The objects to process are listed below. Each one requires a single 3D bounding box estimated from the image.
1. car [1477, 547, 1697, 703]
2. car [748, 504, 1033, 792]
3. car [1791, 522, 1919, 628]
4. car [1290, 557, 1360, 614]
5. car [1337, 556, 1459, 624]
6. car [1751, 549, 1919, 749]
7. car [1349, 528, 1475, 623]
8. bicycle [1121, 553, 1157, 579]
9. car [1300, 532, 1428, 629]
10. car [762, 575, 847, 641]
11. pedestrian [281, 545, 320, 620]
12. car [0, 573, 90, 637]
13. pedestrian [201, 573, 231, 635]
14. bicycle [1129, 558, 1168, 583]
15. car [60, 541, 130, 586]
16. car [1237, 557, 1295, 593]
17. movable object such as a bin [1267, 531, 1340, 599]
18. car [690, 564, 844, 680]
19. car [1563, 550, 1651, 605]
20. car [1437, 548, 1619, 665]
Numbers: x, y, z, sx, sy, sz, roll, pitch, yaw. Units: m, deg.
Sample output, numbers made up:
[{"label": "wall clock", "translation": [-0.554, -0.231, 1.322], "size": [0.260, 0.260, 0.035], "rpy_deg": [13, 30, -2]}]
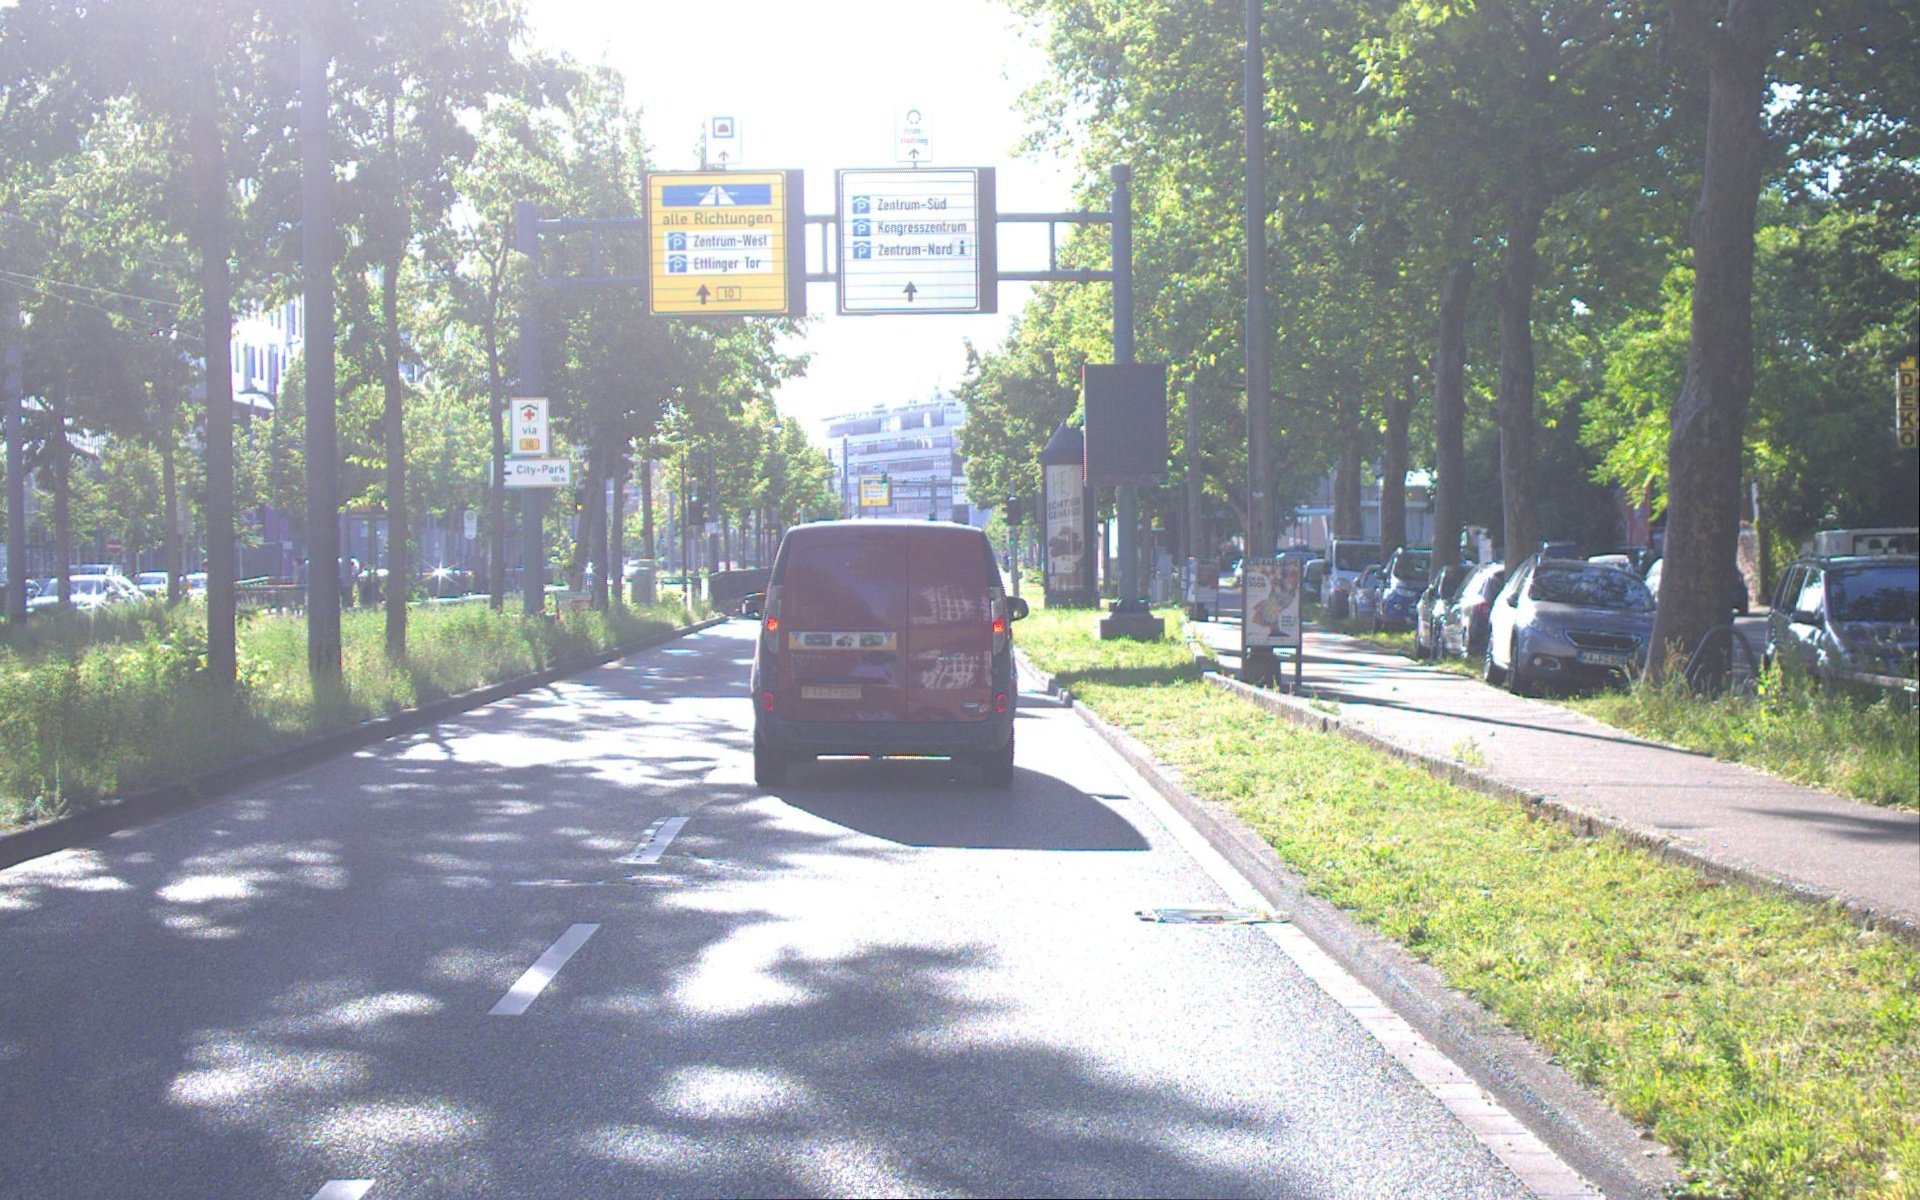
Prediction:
[{"label": "car", "translation": [6.887, 0.258, 38.101], "size": [1.793, 1.555, 4.020], "rpy_deg": [3, 0, 2]}, {"label": "car", "translation": [-0.567, 0.306, 24.229], "size": [1.808, 1.831, 4.000], "rpy_deg": [1, 0, -3]}, {"label": "car", "translation": [17.802, -0.498, 67.521], "size": [2.087, 2.007, 4.942], "rpy_deg": [0, 0, 4]}, {"label": "car", "translation": [9.925, -0.382, 93.714], "size": [1.662, 1.495, 2.989], "rpy_deg": [1, 0, 2]}, {"label": "car", "translation": [8.844, -0.201, 69.673], "size": [1.993, 1.285, 4.053], "rpy_deg": [1, 0, 1]}, {"label": "car", "translation": [8.288, 0.409, 30.428], "size": [1.793, 1.629, 4.626], "rpy_deg": [1, 0, 4]}, {"label": "car", "translation": [8.196, -0.444, 62.621], "size": [1.736, 1.636, 4.352], "rpy_deg": [1, 0, 1]}, {"label": "bicycle", "translation": [9.024, -1.722, 173.392], "size": [1.778, 1.264, 0.479], "rpy_deg": [1, 0, 1]}, {"label": "car", "translation": [8.869, -0.428, 75.926], "size": [2.190, 2.007, 5.820], "rpy_deg": [1, 0, 1]}, {"label": "car", "translation": [-3.967, 0.202, 88.329], "size": [1.993, 1.612, 4.000], "rpy_deg": [1, 0, 0]}, {"label": "pedestrian", "translation": [-16.394, -0.430, 85.466], "size": [0.820, 1.829, 0.726], "rpy_deg": [1, 0, -3]}, {"label": "car", "translation": [-21.876, 0.104, 79.991], "size": [1.993, 1.436, 4.456], "rpy_deg": [1, 0, 2]}, {"label": "pedestrian", "translation": [-18.090, 0.097, 83.567], "size": [0.550, 1.513, 0.588], "rpy_deg": [1, 0, 5]}, {"label": "bicycle", "translation": [9.438, -1.475, 172.189], "size": [1.918, 1.264, 0.479], "rpy_deg": [0, 1, 1]}, {"label": "car", "translation": [-39.992, -1.684, 159.017], "size": [1.993, 2.007, 4.563], "rpy_deg": [1, 0, 0]}, {"label": "car", "translation": [12.085, -0.969, 136.176], "size": [1.871, 1.363, 4.000], "rpy_deg": [1, 0, -1]}, {"label": "movable object such as a bin", "translation": [10.379, -1.060, 104.008], "size": [2.081, 2.007, 2.136], "rpy_deg": [1, 0, 3]}, {"label": "car", "translation": [-2.490, 0.267, 45.057], "size": [1.792, 1.423, 4.000], "rpy_deg": [1, 0, 0]}, {"label": "car", "translation": [20.108, -0.691, 107.050], "size": [1.993, 1.634, 4.000], "rpy_deg": [1, 0, 1]}, {"label": "car", "translation": [7.396, 0.080, 45.072], "size": [1.793, 1.433, 3.884], "rpy_deg": [1, 0, 1]}]
